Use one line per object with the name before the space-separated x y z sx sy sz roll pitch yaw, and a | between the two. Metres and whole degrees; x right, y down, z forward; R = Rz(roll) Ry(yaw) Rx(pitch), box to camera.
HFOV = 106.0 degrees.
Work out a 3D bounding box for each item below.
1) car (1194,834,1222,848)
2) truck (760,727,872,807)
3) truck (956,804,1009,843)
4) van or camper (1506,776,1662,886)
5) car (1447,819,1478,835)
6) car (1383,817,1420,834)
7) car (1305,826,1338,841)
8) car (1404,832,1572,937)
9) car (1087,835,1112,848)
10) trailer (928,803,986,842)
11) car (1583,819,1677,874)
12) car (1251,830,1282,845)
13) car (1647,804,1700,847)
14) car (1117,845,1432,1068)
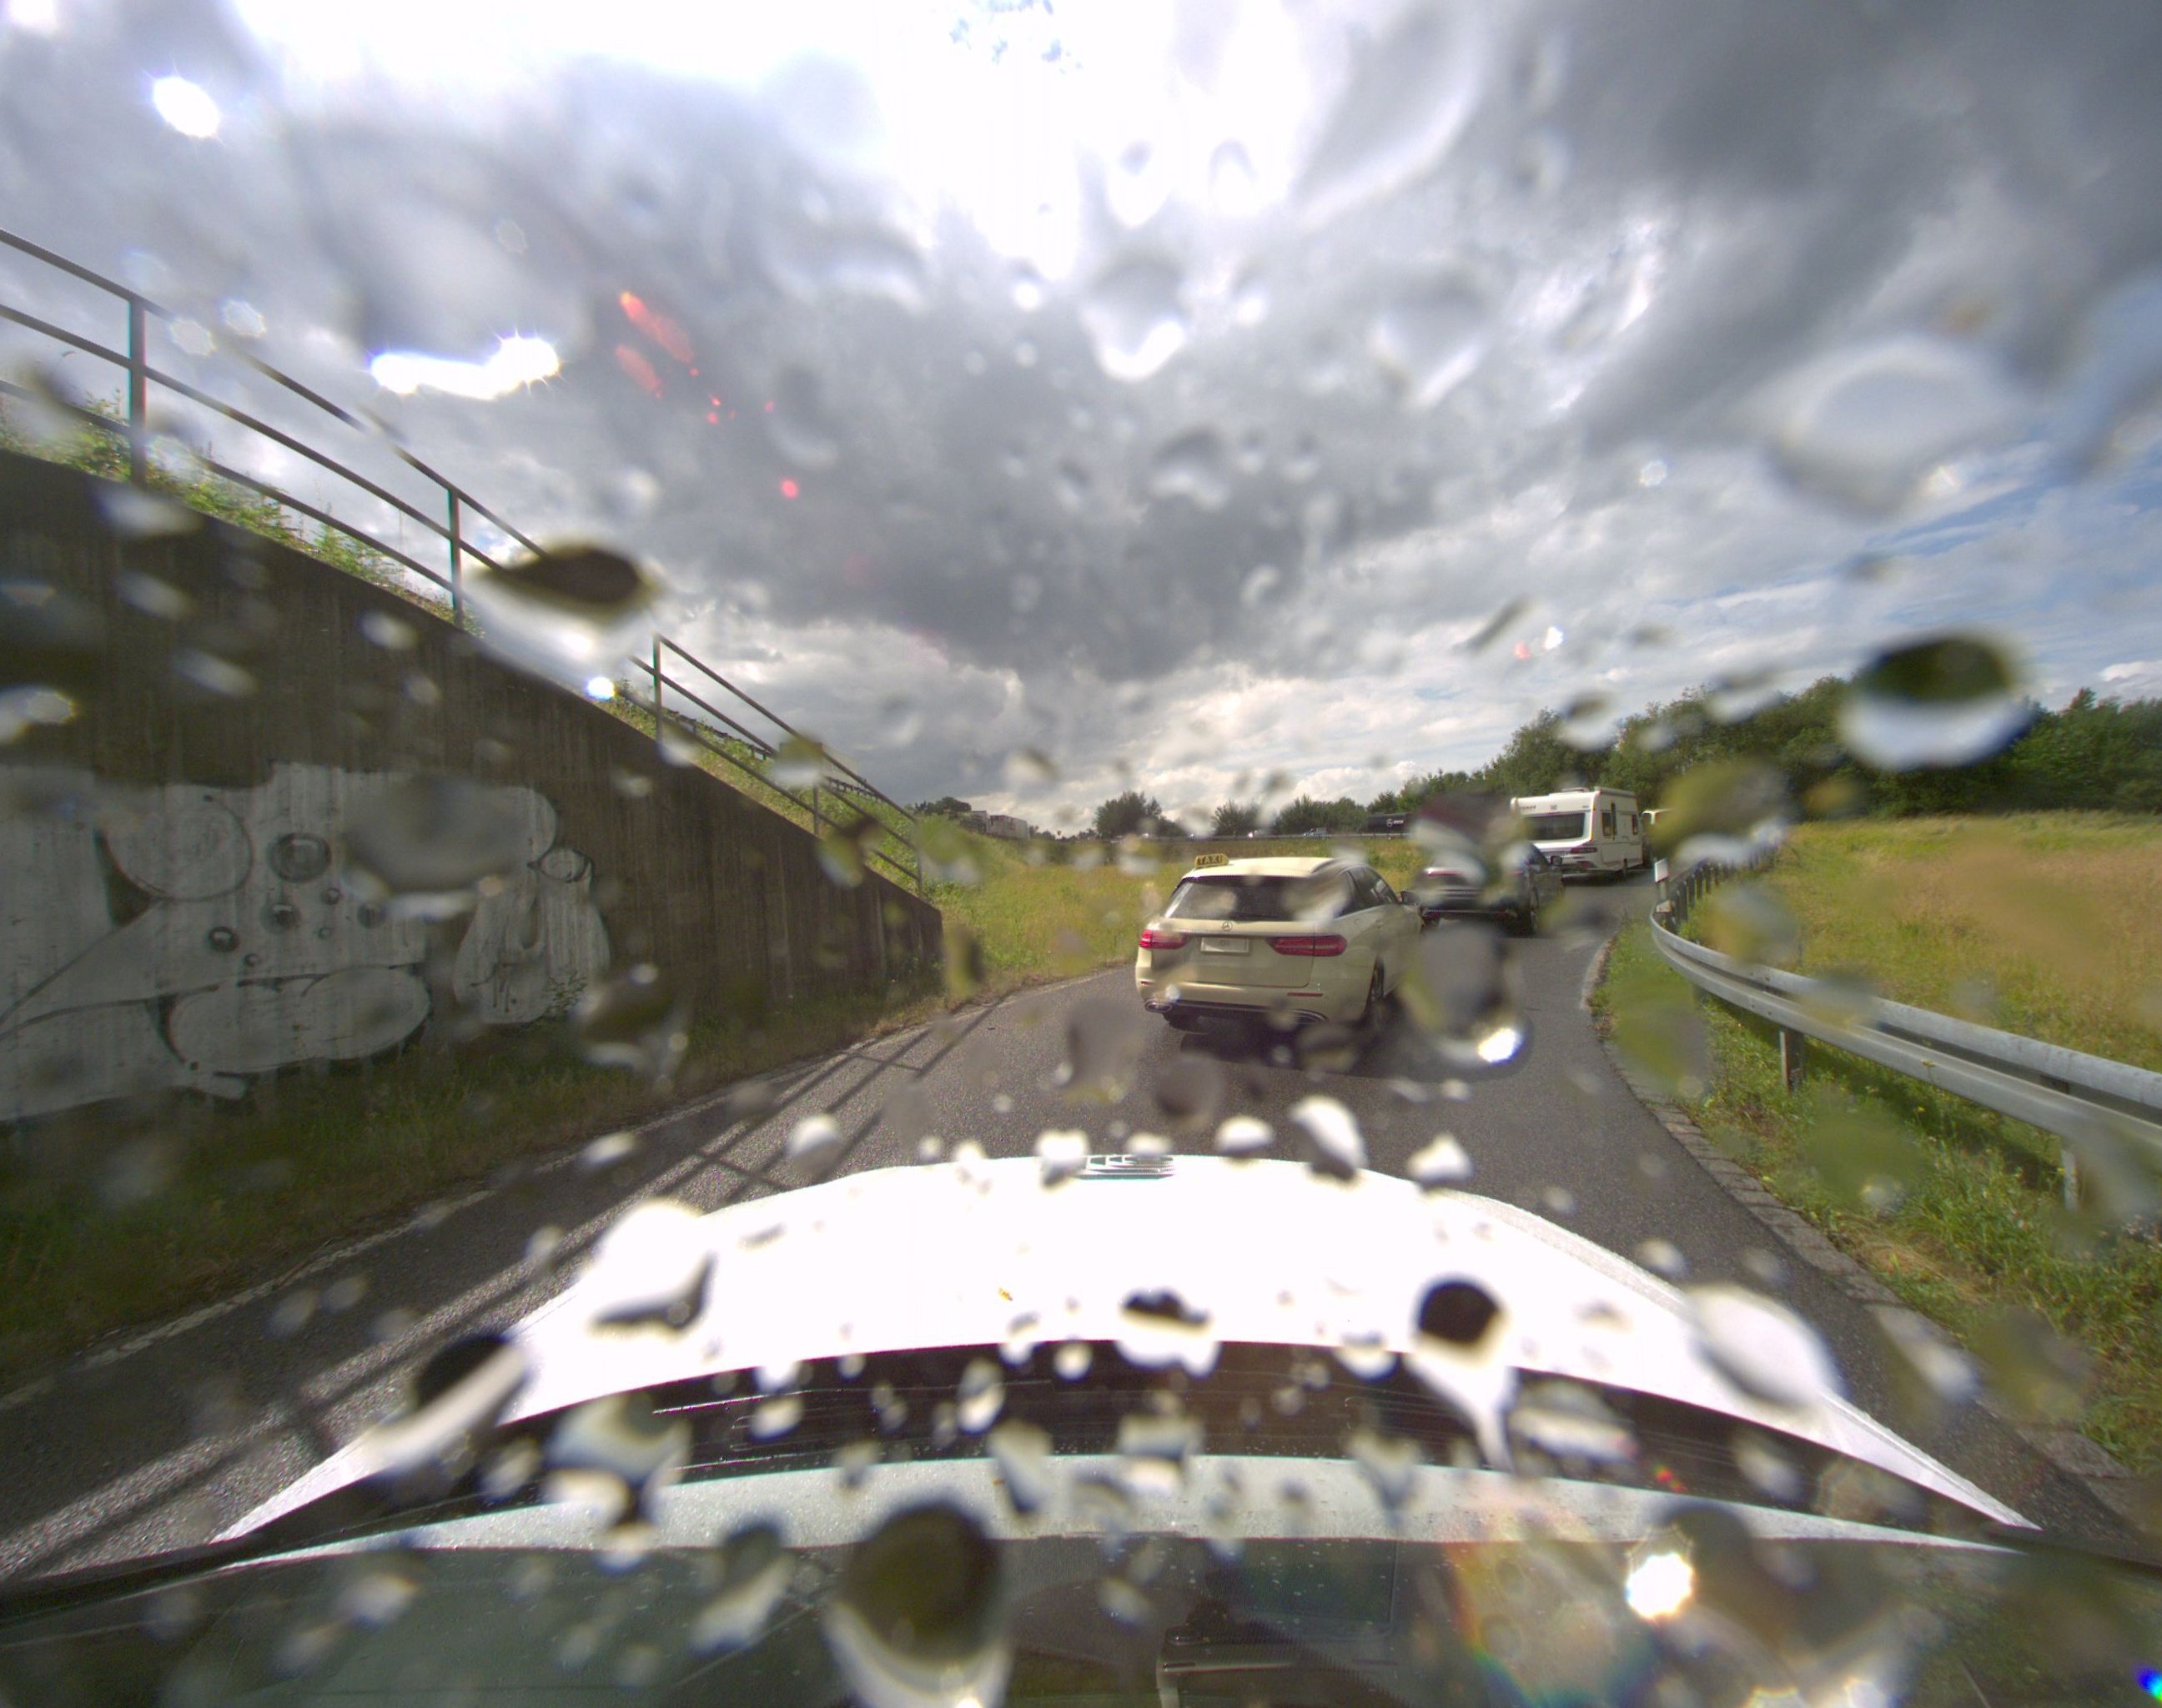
car | 16.249 -1.646 104.308 3.282 1.535 1.479 -3 2 44
truck | -16.255 -5.190 50.893 3.436 3.614 9.249 -4 -1 2
truck | -12.391 -3.746 104.177 3.670 4.412 12.142 -4 1 7
van or camper | 15.490 -0.724 24.788 2.328 2.821 7.652 -4 -1 44
car | 35.799 -2.551 76.476 1.460 1.400 3.210 -4 1 2
car | 32.879 -2.955 83.616 1.473 1.535 3.296 -5 2 -25
car | 27.501 -2.371 93.287 1.478 1.535 3.286 -5 2 -38
car | 7.255 0.438 14.315 1.827 1.480 3.833 -2 2 39
car | 2.636 -1.796 117.015 3.282 1.535 1.479 -3 2 44
trailer | -13.885 -3.445 92.616 3.375 3.953 11.204 -4 0 7
car | 19.589 -0.298 29.006 1.916 1.530 4.024 -9 -3 45
car | 22.592 -1.989 99.075 3.282 1.535 1.479 -3 2 44
car | 31.570 -1.555 43.459 1.866 2.013 4.026 -3 2 31
car | 2.174 0.693 7.895 1.698 1.481 4.546 -2 0 30
